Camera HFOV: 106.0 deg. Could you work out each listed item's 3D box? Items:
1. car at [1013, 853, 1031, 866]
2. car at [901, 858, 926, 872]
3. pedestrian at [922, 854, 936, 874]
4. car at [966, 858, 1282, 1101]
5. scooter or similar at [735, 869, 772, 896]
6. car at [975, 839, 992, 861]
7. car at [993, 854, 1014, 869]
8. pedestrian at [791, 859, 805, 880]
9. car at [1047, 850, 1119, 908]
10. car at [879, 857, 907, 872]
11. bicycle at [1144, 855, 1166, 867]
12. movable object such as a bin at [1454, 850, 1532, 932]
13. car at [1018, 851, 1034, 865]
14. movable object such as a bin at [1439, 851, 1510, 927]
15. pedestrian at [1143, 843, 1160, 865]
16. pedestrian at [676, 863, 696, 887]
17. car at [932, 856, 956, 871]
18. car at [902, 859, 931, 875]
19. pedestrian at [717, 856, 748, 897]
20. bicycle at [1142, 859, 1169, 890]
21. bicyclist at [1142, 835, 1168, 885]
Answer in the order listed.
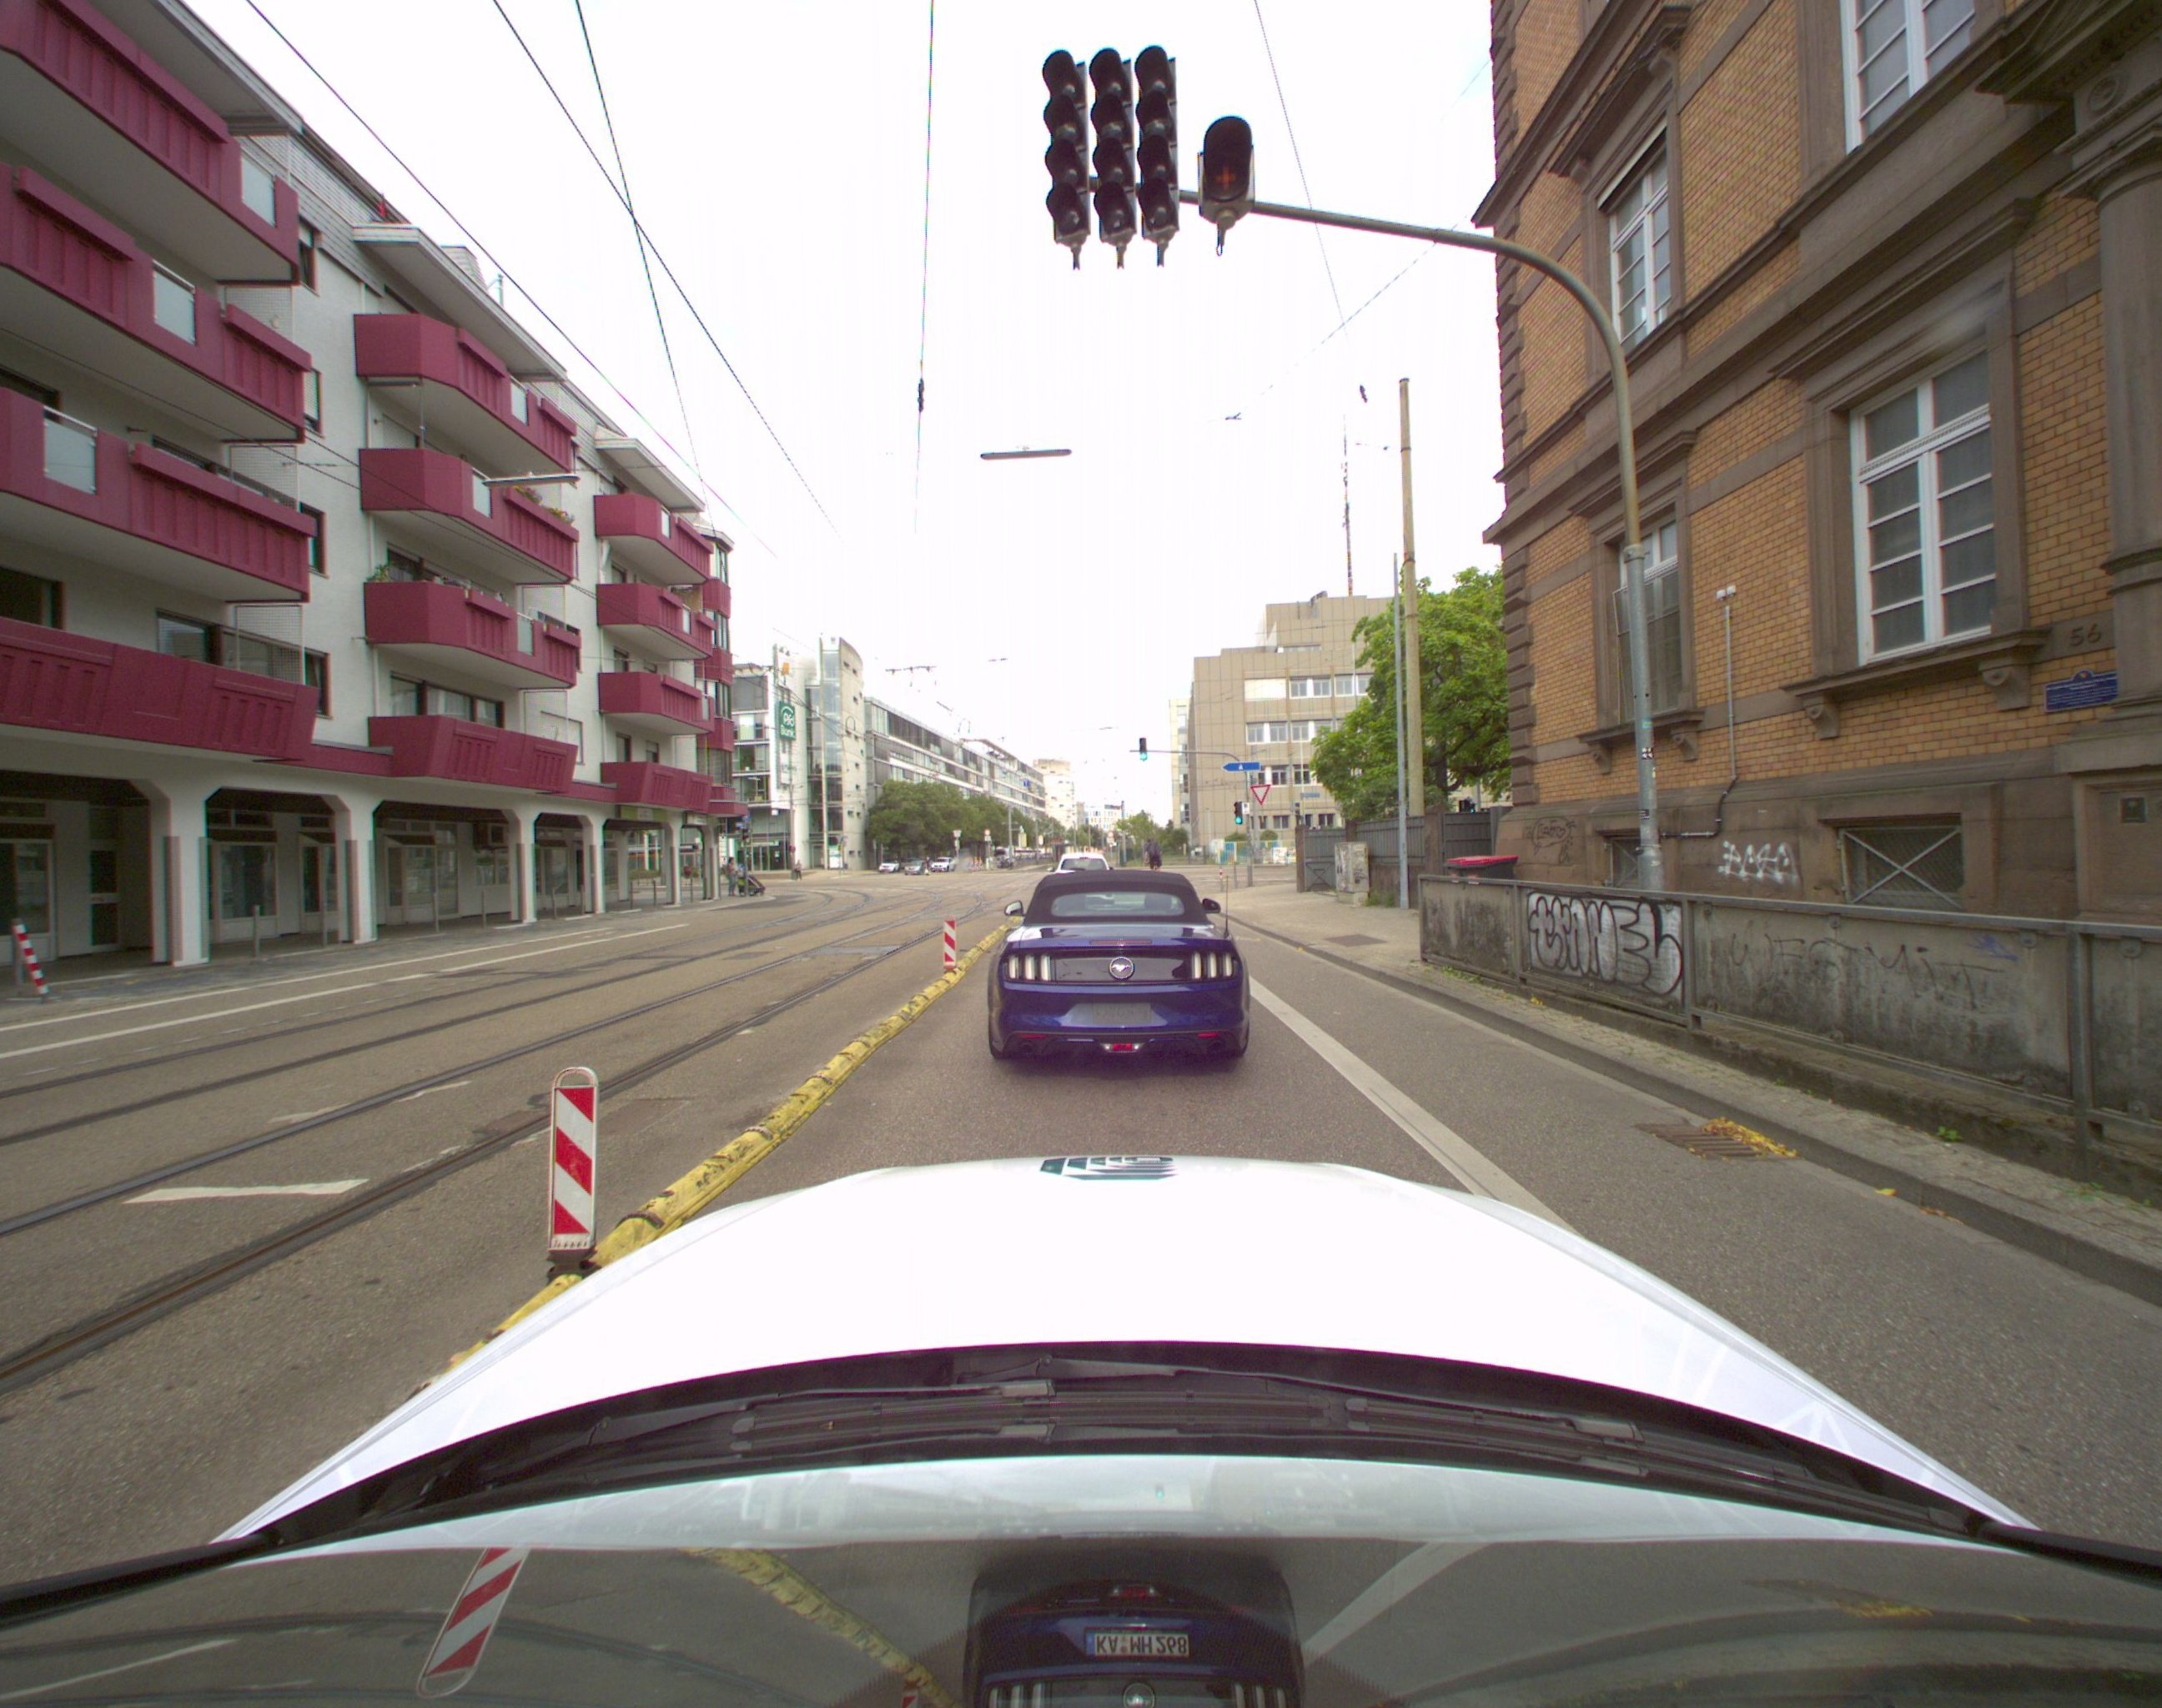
[{"bbox_3d":[-8.012,0.705,111.182,1.861,1.605,4.214,-2,0,2],"label":"car"},{"bbox_3d":[-20.259,1.329,98.829,1.820,1.556,4.223,0,0,6],"label":"car"},{"bbox_3d":[-14.474,0.970,77.399,0.984,1.855,0.903,-2,0,6],"label":"pedestrian"},{"bbox_3d":[0.334,0.758,6.995,1.869,1.404,4.284,-1,0,2],"label":"car"},{"bbox_3d":[-14.333,1.255,35.688,1.192,1.128,0.946,-1,0,-1],"label":"scooter or similar"},{"bbox_3d":[-16.216,-0.616,135.980,1.978,3.636,4.516,0,0,3],"label":"car"},{"bbox_3d":[-9.276,0.878,97.667,1.872,1.628,4.089,-2,0,2],"label":"car"},{"bbox_3d":[-25.351,1.382,72.911,0.828,1.865,0.769,-2,0,14],"label":"pedestrian"},{"bbox_3d":[-0.024,0.660,23.338,1.831,1.439,4.183,-2,0,-2],"label":"car"},{"bbox_3d":[-21.173,1.176,91.713,1.820,1.556,4.223,0,0,6],"label":"car"},{"bbox_3d":[6.568,0.627,72.364,0.637,0.981,2.133,-2,-2,-40],"label":"bicycle"},{"bbox_3d":[5.968,0.524,11.838,0.662,1.082,0.700,-5,-1,-3],"label":"movable object such as a bin"},{"bbox_3d":[-7.831,0.558,116.350,1.778,1.987,4.123,-2,0,2],"label":"car"},{"bbox_3d":[6.051,0.531,12.552,0.649,1.082,0.677,-5,-1,-4],"label":"movable object such as a bin"},{"bbox_3d":[6.188,0.029,71.330,1.075,1.898,0.907,-2,0,39],"label":"pedestrian"},{"bbox_3d":[-28.547,1.544,58.827,0.928,1.671,0.769,-2,0,14],"label":"pedestrian"},{"bbox_3d":[-15.697,1.021,93.473,1.706,1.660,4.140,0,0,6],"label":"car"},{"bbox_3d":[-16.834,1.343,83.582,1.659,1.506,4.242,0,0,6],"label":"car"},{"bbox_3d":[-15.240,0.967,35.636,0.945,1.743,0.811,-2,0,-2],"label":"pedestrian"},{"bbox_3d":[2.765,0.754,30.412,0.798,1.086,2.131,-2,0,0],"label":"bicycle"},{"bbox_3d":[2.736,0.224,30.375,0.793,1.785,1.233,-2,0,0],"label":"bicyclist"}]
